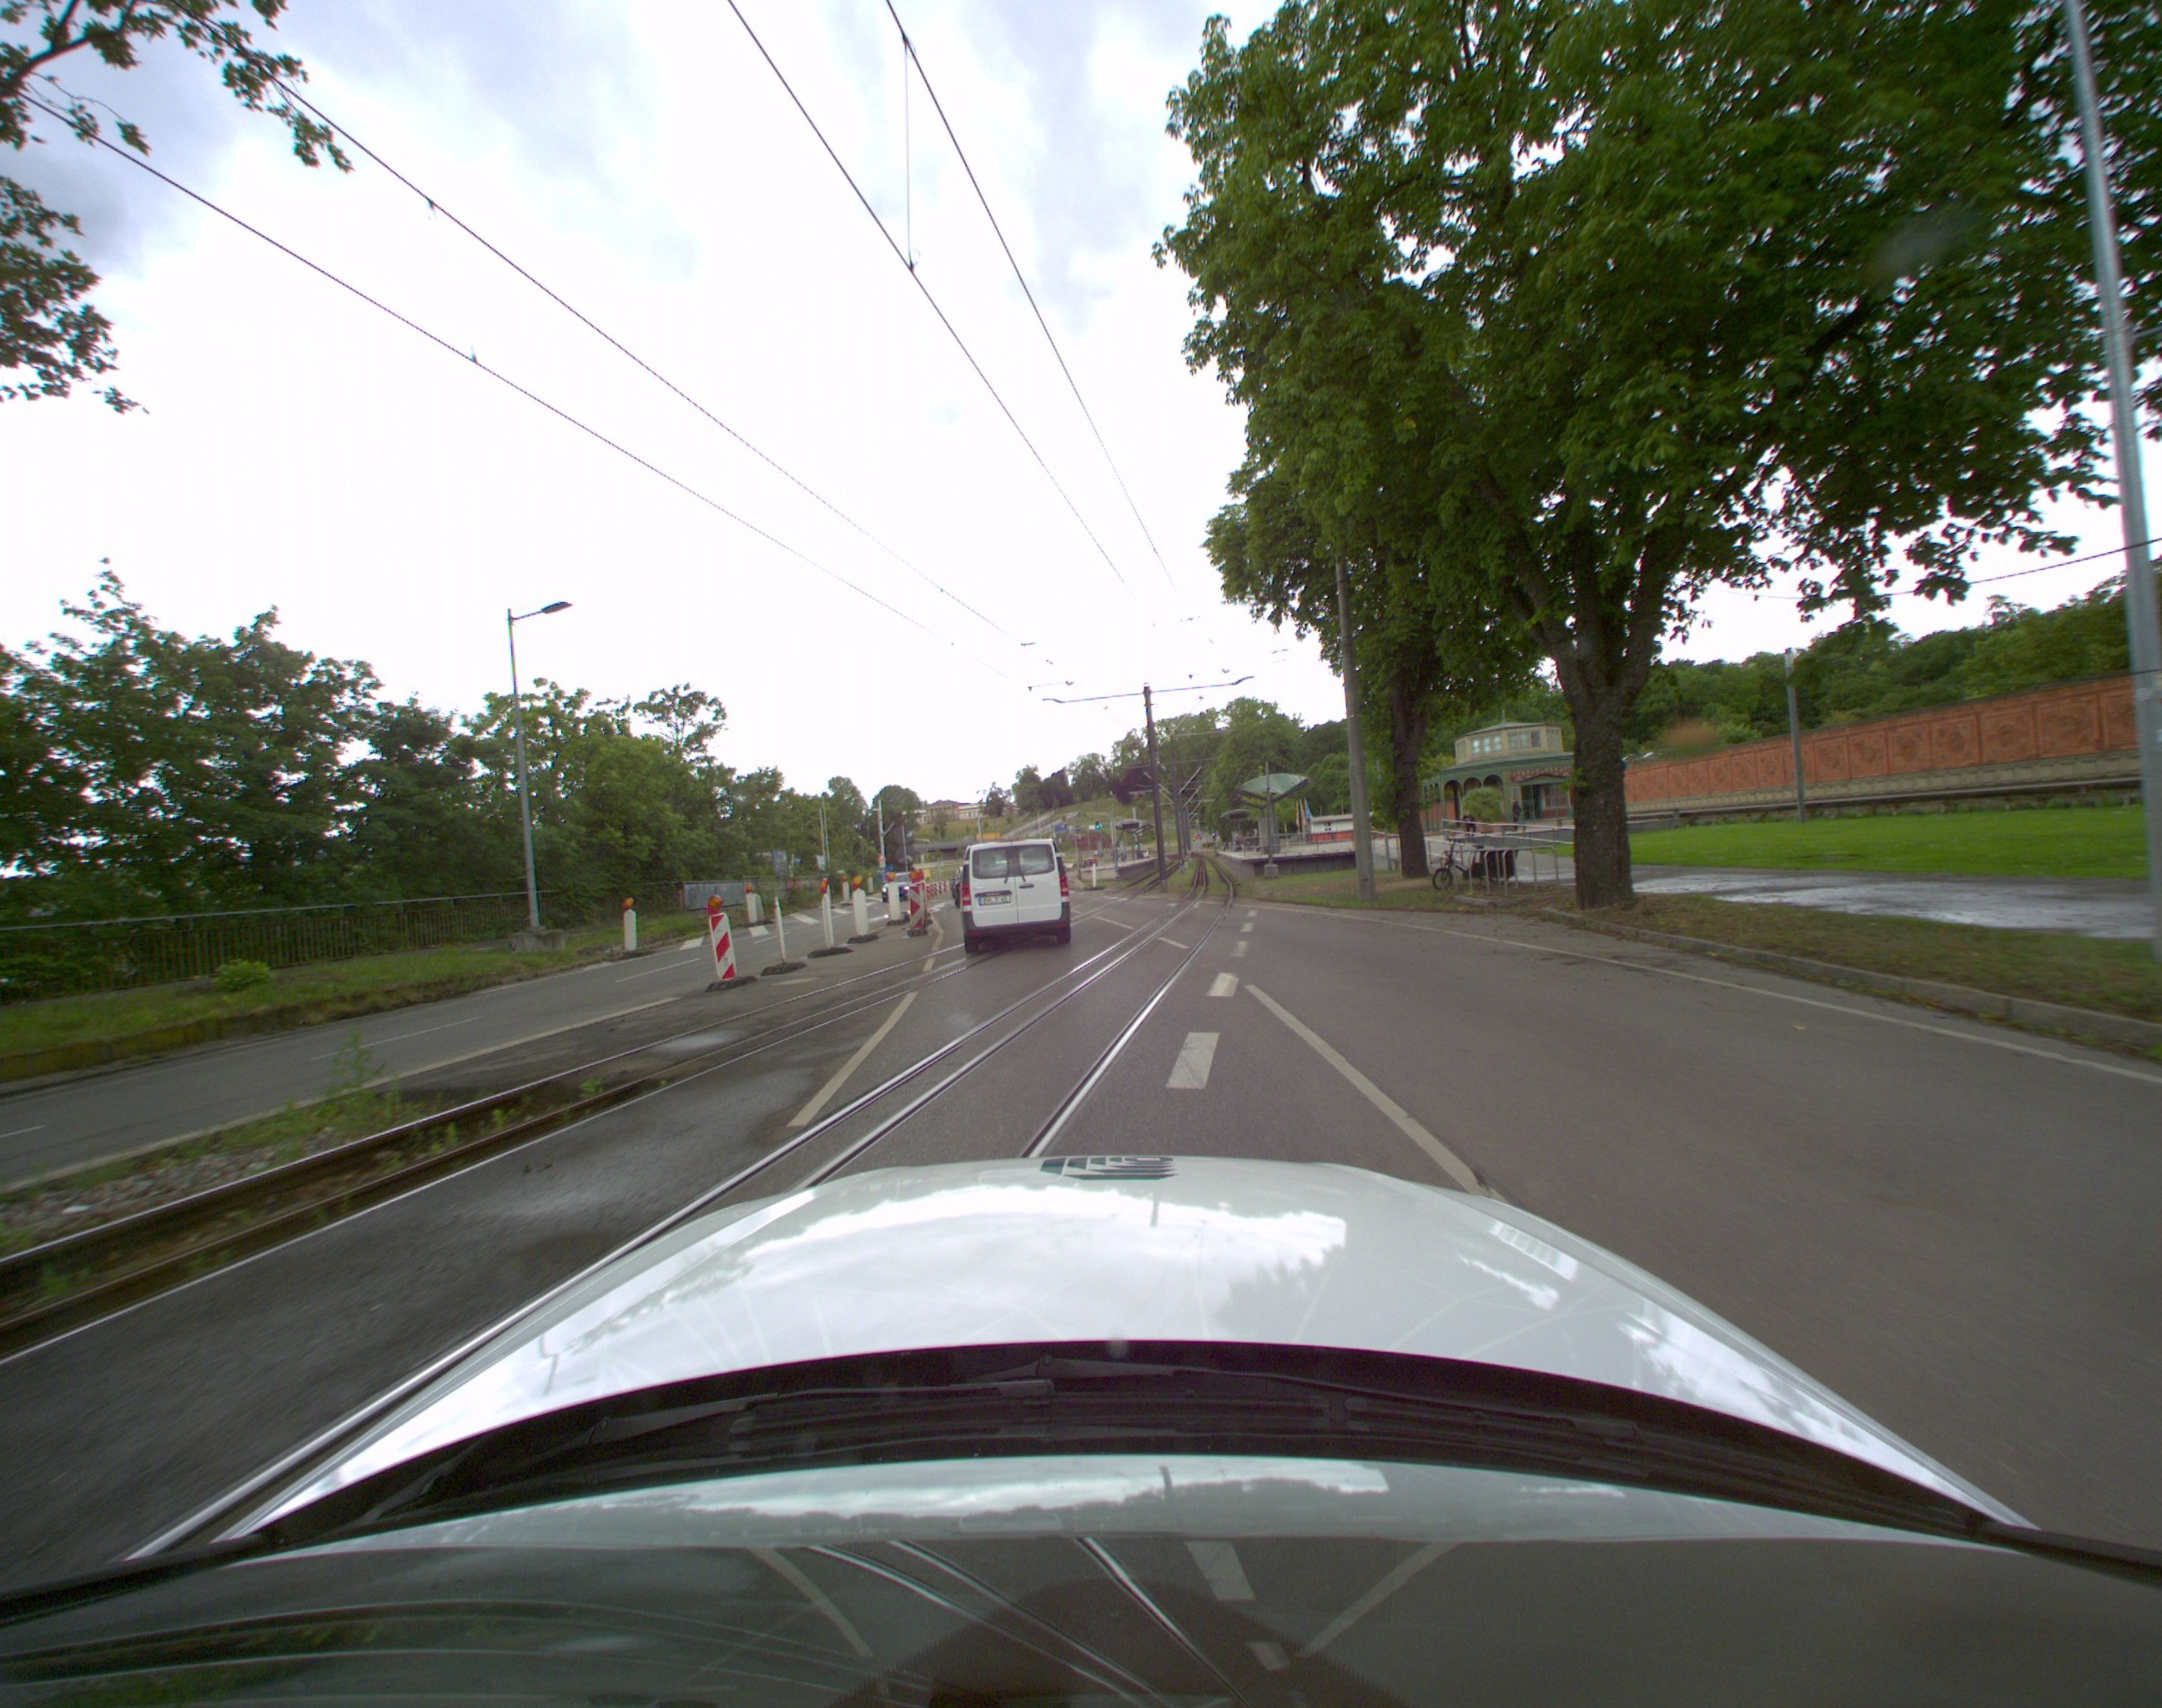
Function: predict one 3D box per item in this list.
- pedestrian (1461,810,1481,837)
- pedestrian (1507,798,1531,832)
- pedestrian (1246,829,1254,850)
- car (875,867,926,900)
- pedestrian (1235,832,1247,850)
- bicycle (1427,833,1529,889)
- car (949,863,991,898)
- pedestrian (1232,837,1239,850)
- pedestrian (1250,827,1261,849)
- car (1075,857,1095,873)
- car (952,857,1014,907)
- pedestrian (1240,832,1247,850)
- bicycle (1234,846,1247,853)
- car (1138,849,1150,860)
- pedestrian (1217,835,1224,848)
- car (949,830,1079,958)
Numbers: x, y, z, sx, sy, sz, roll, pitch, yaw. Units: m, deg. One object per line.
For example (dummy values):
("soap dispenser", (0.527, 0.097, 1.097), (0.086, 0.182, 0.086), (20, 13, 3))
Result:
("pedestrian", (18.054, -1.428, 37.728), (0.546, 1.201, 0.669), (-3, -1, 2))
("pedestrian", (24.187, -2.154, 45.004), (0.553, 1.838, 0.940), (-2, -1, -42))
("pedestrian", (15.384, -1.342, 74.107), (0.629, 1.838, 0.953), (-3, -1, 10))
("car", (-9.781, 1.555, 44.386), (1.689, 1.461, 3.913), (-6, 1, 1))
("pedestrian", (15.329, -1.215, 78.059), (0.858, 1.677, 0.761), (-3, -1, -2))
("bicycle", (9.416, 0.167, 19.382), (1.978, 1.157, 0.743), (-5, -1, 12))
("car", (-5.747, 1.341, 42.495), (1.835, 1.582, 4.056), (-3, 0, -4))
("pedestrian", (14.936, -1.021, 78.748), (0.653, 1.191, 0.677), (-3, -1, 10))
("pedestrian", (13.359, -1.215, 62.349), (0.629, 1.687, 0.868), (-3, -1, 8))
("car", (0.517, 1.268, 98.155), (1.985, 1.772, 4.004), (-3, -1, 4))
("car", (-3.780, 1.044, 32.126), (1.832, 1.729, 4.061), (-3, 0, 0))
("pedestrian", (15.356, -1.226, 76.948), (0.521, 1.620, 0.677), (-3, -1, 10))
("bicycle", (25.440, -0.731, 129.975), (1.901, 0.895, 0.532), (-6, -1, 8))
("car", (12.757, 0.134, 164.228), (2.191, 2.013, 5.155), (-4, 0, 3))
("pedestrian", (15.145, -1.381, 88.341), (0.670, 1.323, 0.970), (-3, -1, 7))
("car", (-1.347, 0.665, 15.410), (1.958, 1.903, 4.450), (-5, 0, -7))
